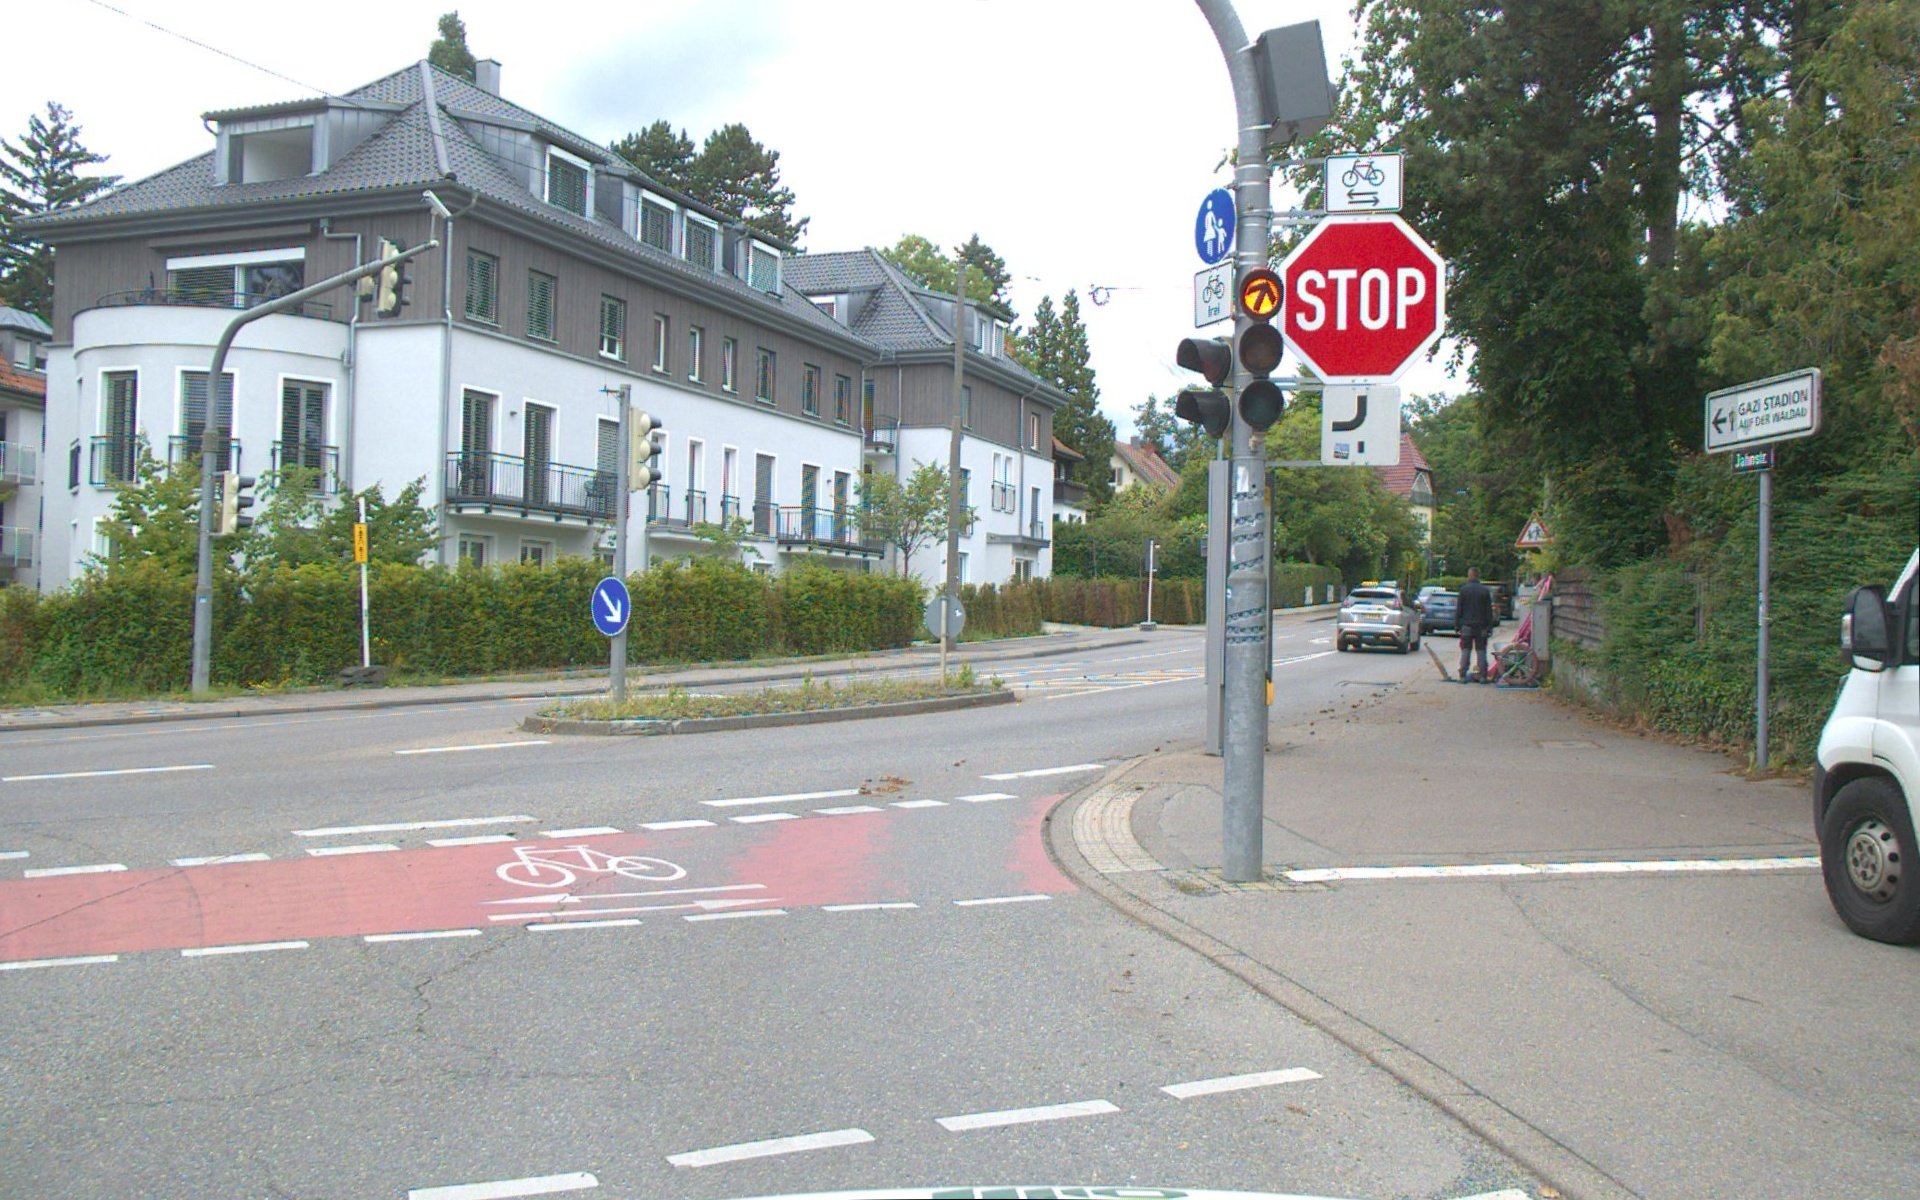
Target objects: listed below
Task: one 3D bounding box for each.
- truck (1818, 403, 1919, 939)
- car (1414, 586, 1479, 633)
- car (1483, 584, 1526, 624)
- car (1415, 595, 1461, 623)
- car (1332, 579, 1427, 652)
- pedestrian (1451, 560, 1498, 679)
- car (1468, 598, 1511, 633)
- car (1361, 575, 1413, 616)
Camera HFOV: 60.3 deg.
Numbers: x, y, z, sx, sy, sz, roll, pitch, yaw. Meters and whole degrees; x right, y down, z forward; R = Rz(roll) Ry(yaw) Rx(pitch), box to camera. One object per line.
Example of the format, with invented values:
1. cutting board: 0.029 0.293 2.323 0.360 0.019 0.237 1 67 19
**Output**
1. truck: 5.133 0.318 5.016 2.162 2.283 5.724 1 0 1
2. car: 16.980 0.315 57.601 1.763 1.553 4.743 -1 0 21
3. car: 28.010 0.190 85.040 1.879 1.927 4.909 2 1 20
4. car: 25.564 0.448 88.401 1.899 1.428 4.742 1 1 22
5. car: 11.035 0.376 43.313 1.770 1.784 4.486 -1 0 22
6. pedestrian: 8.561 0.320 27.546 0.584 1.940 0.558 1 0 0
7. car: 23.248 0.665 72.557 1.659 1.455 3.749 -1 0 19
8. car: 20.991 -0.211 81.153 1.873 1.913 5.142 -1 -1 21
